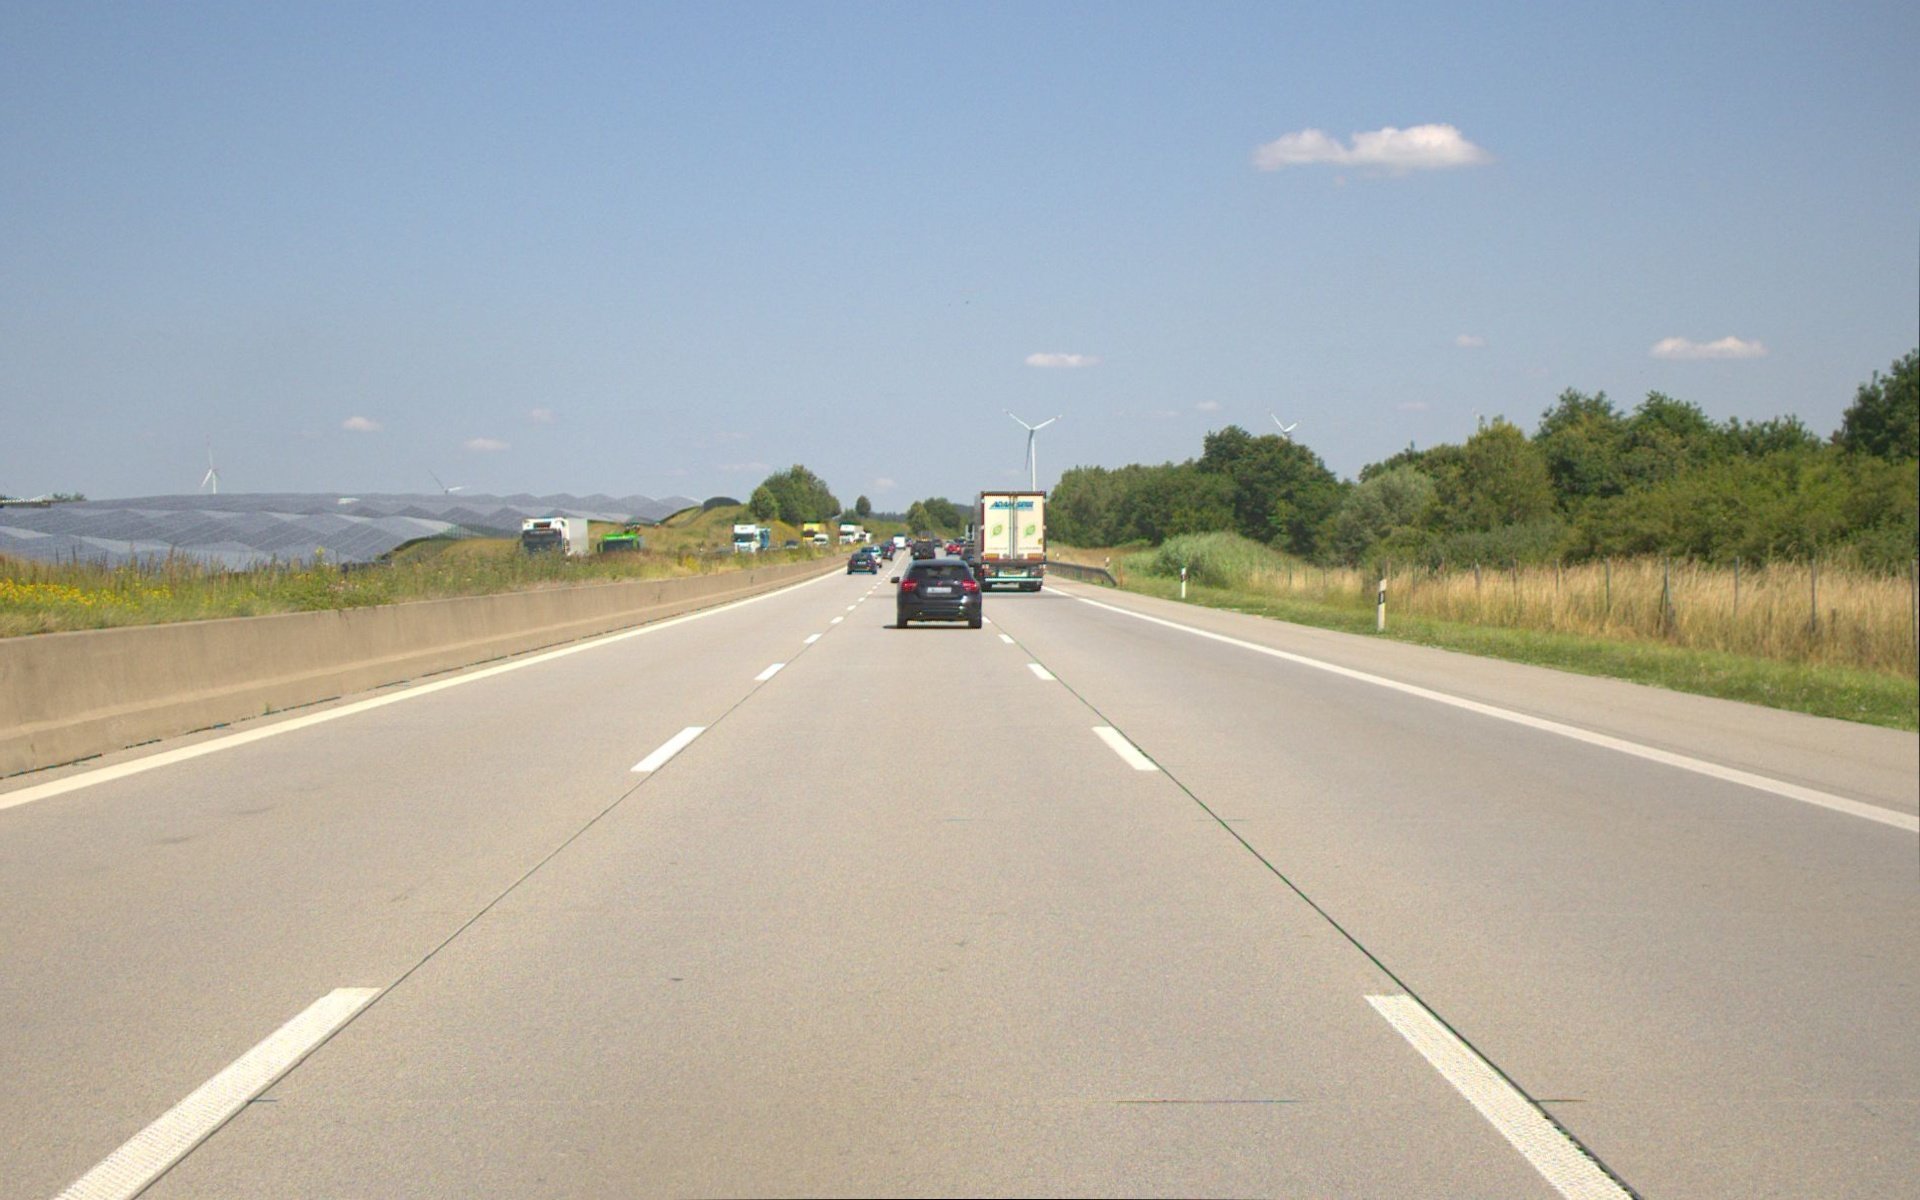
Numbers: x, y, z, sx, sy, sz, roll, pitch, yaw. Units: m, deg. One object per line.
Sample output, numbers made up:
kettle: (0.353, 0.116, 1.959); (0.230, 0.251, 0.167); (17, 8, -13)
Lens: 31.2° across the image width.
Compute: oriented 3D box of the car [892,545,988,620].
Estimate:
car: (-0.448, -0.389, 72.318); (1.910, 1.487, 4.192); (1, 1, -1)

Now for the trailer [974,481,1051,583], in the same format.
trailer: (2.103, -2.788, 142.821); (2.852, 4.029, 12.714); (1, 1, -1)

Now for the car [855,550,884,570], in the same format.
car: (-5.722, -2.528, 217.589); (1.655, 1.192, 3.960); (3, 1, -1)

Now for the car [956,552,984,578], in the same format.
car: (0.751, -2.552, 249.508); (1.827, 1.900, 4.000); (1, 1, 3)
